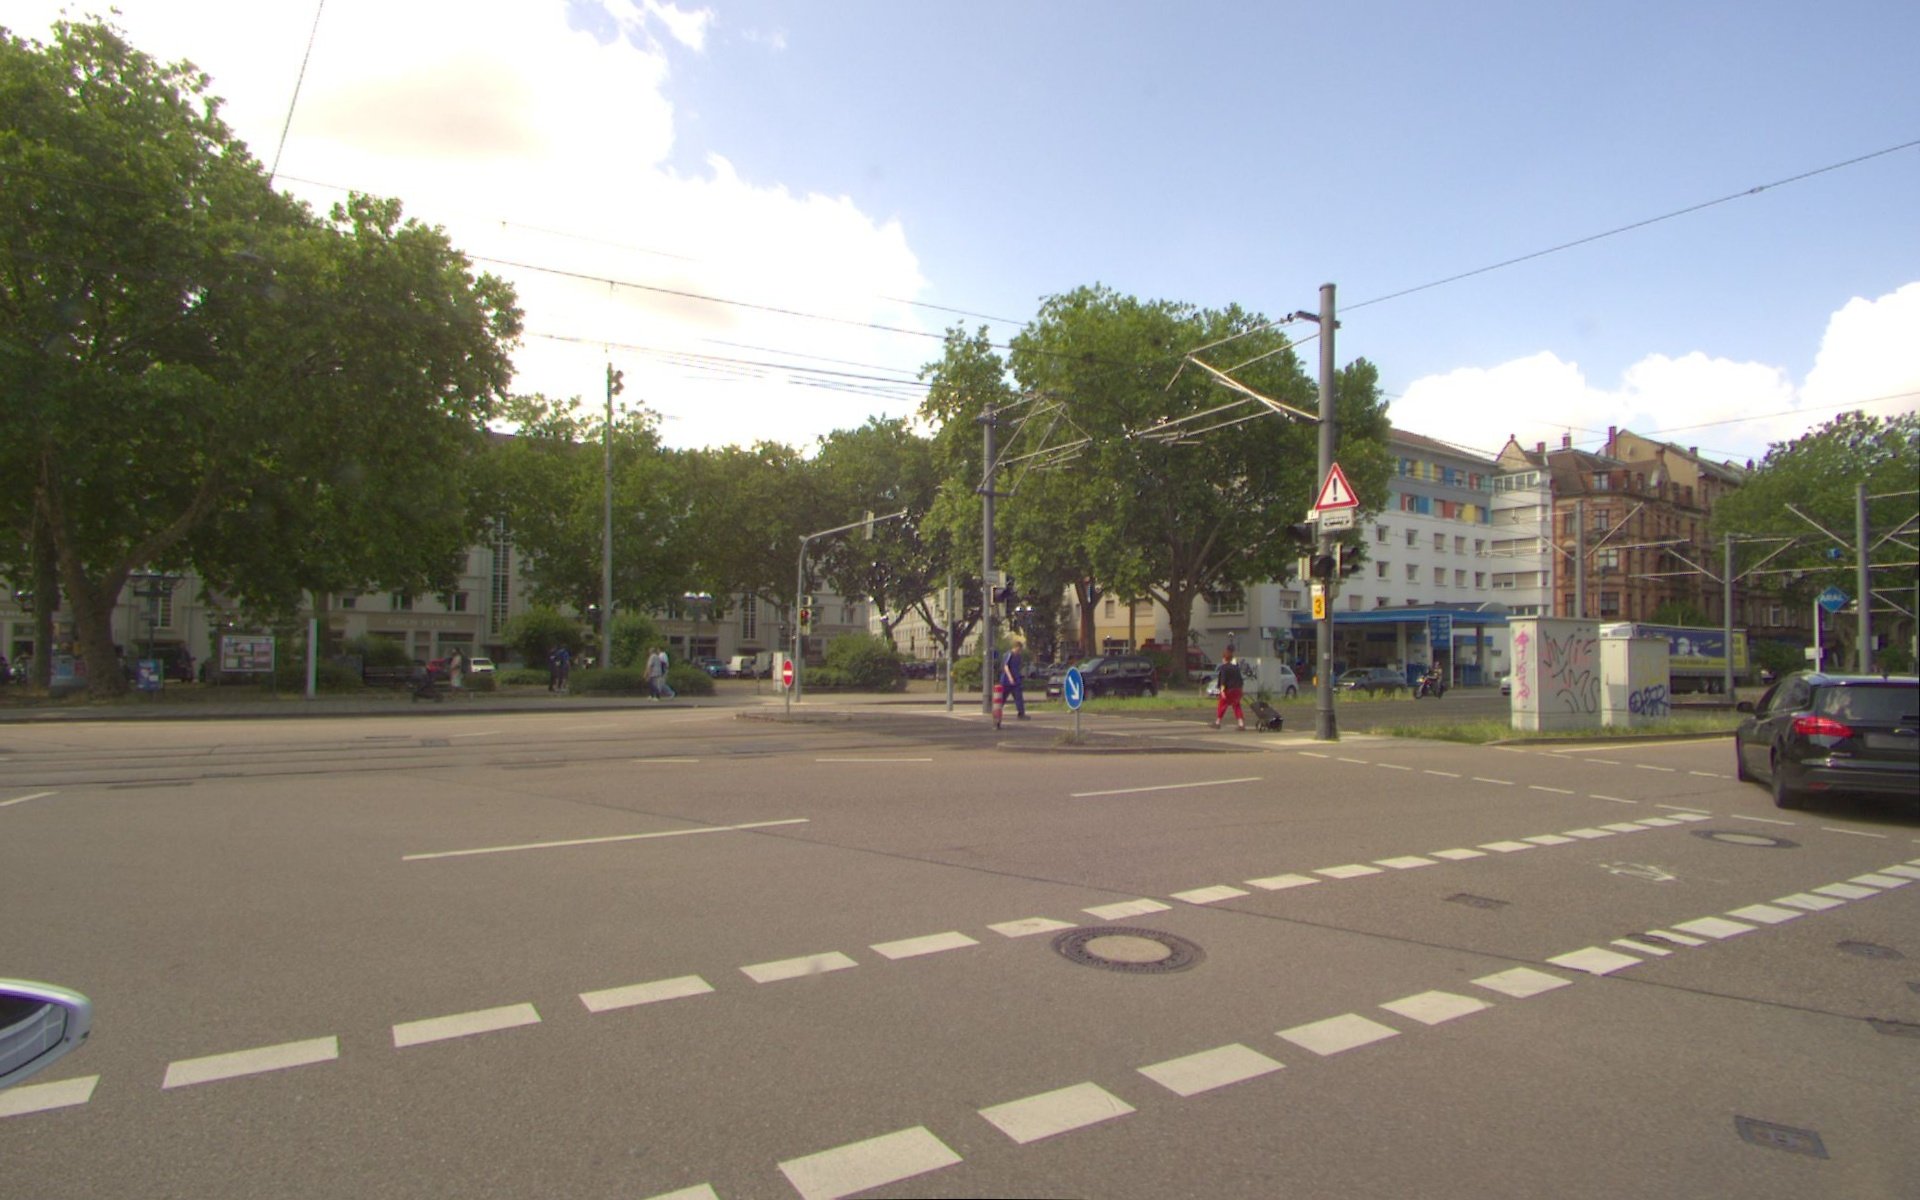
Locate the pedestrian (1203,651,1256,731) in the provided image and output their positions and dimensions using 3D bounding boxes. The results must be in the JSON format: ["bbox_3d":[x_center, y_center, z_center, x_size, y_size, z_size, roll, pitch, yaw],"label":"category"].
[{"bbox_3d":[5.278,1.762,19.617,0.768,1.510,0.652,0,-3,44],"label":"pedestrian"}]

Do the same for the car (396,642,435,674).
[{"bbox_3d":[-35.441,3.776,65.134,1.973,2.038,3.979,2,-4,-32],"label":"car"}]

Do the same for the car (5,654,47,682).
[{"bbox_3d":[-47.574,3.455,51.034,1.455,1.406,3.041,3,-5,-42],"label":"car"}]

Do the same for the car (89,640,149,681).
[{"bbox_3d":[-47.357,3.433,56.475,1.974,2.209,4.234,2,-4,-32],"label":"car"}]

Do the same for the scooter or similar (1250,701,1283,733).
[{"bbox_3d":[5.854,2.231,19.115,0.516,0.542,0.308,0,-2,45],"label":"scooter or similar"}]

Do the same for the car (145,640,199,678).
[{"bbox_3d":[-45.396,3.404,57.742,1.974,2.101,3.978,2,-4,-32],"label":"car"}]

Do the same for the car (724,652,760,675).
[{"bbox_3d":[-19.195,5.585,88.096,1.973,1.988,3.980,2,-4,-31],"label":"car"}]

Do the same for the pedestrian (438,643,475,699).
[{"bbox_3d":[-15.265,2.138,30.360,0.910,1.666,0.567,2,-3,-32],"label":"pedestrian"}]

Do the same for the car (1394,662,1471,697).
[{"bbox_3d":[22.627,3.810,47.921,3.704,1.582,1.676,3,-3,-33],"label":"car"}]

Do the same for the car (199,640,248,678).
[{"bbox_3d":[-43.167,3.478,58.800,1.974,2.101,3.978,2,-4,-32],"label":"car"}]

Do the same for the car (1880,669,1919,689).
[{"bbox_3d":[79.073,6.628,84.024,3.947,1.651,1.794,2,-4,-33],"label":"car"}]

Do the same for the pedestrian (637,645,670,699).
[{"bbox_3d":[-10.076,2.352,32.913,0.683,1.744,0.716,-1,-3,33],"label":"pedestrian"}]

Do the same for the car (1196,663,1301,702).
[{"bbox_3d":[11.704,3.317,40.491,4.271,1.483,1.724,3,-3,-33],"label":"car"}]

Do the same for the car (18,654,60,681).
[{"bbox_3d":[-49.874,3.651,54.251,1.454,1.406,3.210,3,-4,-40],"label":"car"}]

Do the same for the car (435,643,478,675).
[{"bbox_3d":[-33.298,3.904,66.169,1.975,2.038,3.975,2,-4,-35],"label":"car"}]

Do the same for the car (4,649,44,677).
[{"bbox_3d":[-58.043,3.902,62.147,1.453,1.686,3.045,3,-4,-37],"label":"car"}]

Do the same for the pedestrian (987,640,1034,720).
[{"bbox_3d":[1.142,1.783,22.521,0.734,1.752,0.768,2,-3,-34],"label":"pedestrian"}]

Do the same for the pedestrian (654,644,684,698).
[{"bbox_3d":[-9.743,2.373,33.528,0.683,1.786,0.667,-1,-3,33],"label":"pedestrian"}]

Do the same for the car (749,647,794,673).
[{"bbox_3d":[-14.745,4.681,78.200,2.075,1.929,4.469,2,-4,-31],"label":"car"}]

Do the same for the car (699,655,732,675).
[{"bbox_3d":[-21.143,5.587,86.548,1.720,1.657,3.980,2,-4,-31],"label":"car"}]

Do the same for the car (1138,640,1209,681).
[{"bbox_3d":[13.145,3.717,61.694,3.947,2.450,2.101,2,-4,-33],"label":"car"}]

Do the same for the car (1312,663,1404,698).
[{"bbox_3d":[17.733,3.543,44.583,3.920,1.464,1.844,2,-3,-32],"label":"car"}]

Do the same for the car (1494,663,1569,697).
[{"bbox_3d":[30.596,4.256,53.577,4.080,1.726,1.844,3,-3,-32],"label":"car"}]

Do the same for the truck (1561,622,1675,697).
[{"bbox_3d":[38.375,3.477,58.374,6.497,4.200,2.904,2,-3,-30],"label":"truck"}]

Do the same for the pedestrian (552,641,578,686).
[{"bbox_3d":[-15.798,2.536,40.056,0.597,1.772,0.695,-1,-3,33],"label":"pedestrian"}]

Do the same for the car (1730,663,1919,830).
[{"bbox_3d":[10.163,1.516,11.385,1.759,1.553,4.367,0,-3,31],"label":"car"}]

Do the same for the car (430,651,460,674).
[{"bbox_3d":[-38.519,4.687,74.859,1.720,1.657,3.980,2,-4,-31],"label":"car"}]

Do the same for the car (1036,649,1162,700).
[{"bbox_3d":[5.049,2.677,36.173,4.360,1.748,1.844,3,-3,-32],"label":"car"}]

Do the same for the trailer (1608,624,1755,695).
[{"bbox_3d":[44.851,3.702,62.089,11.486,4.127,2.904,2,-3,-30],"label":"trailer"}]

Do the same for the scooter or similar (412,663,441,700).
[{"bbox_3d":[-15.957,2.436,29.942,0.699,1.069,0.488,2,-3,-32],"label":"scooter or similar"}]

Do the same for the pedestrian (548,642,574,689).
[{"bbox_3d":[-15.236,2.508,38.250,0.597,1.772,0.695,-1,-3,33],"label":"pedestrian"}]

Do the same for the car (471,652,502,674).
[{"bbox_3d":[-36.129,4.788,76.355,1.720,1.657,3.980,2,-4,-31],"label":"car"}]
